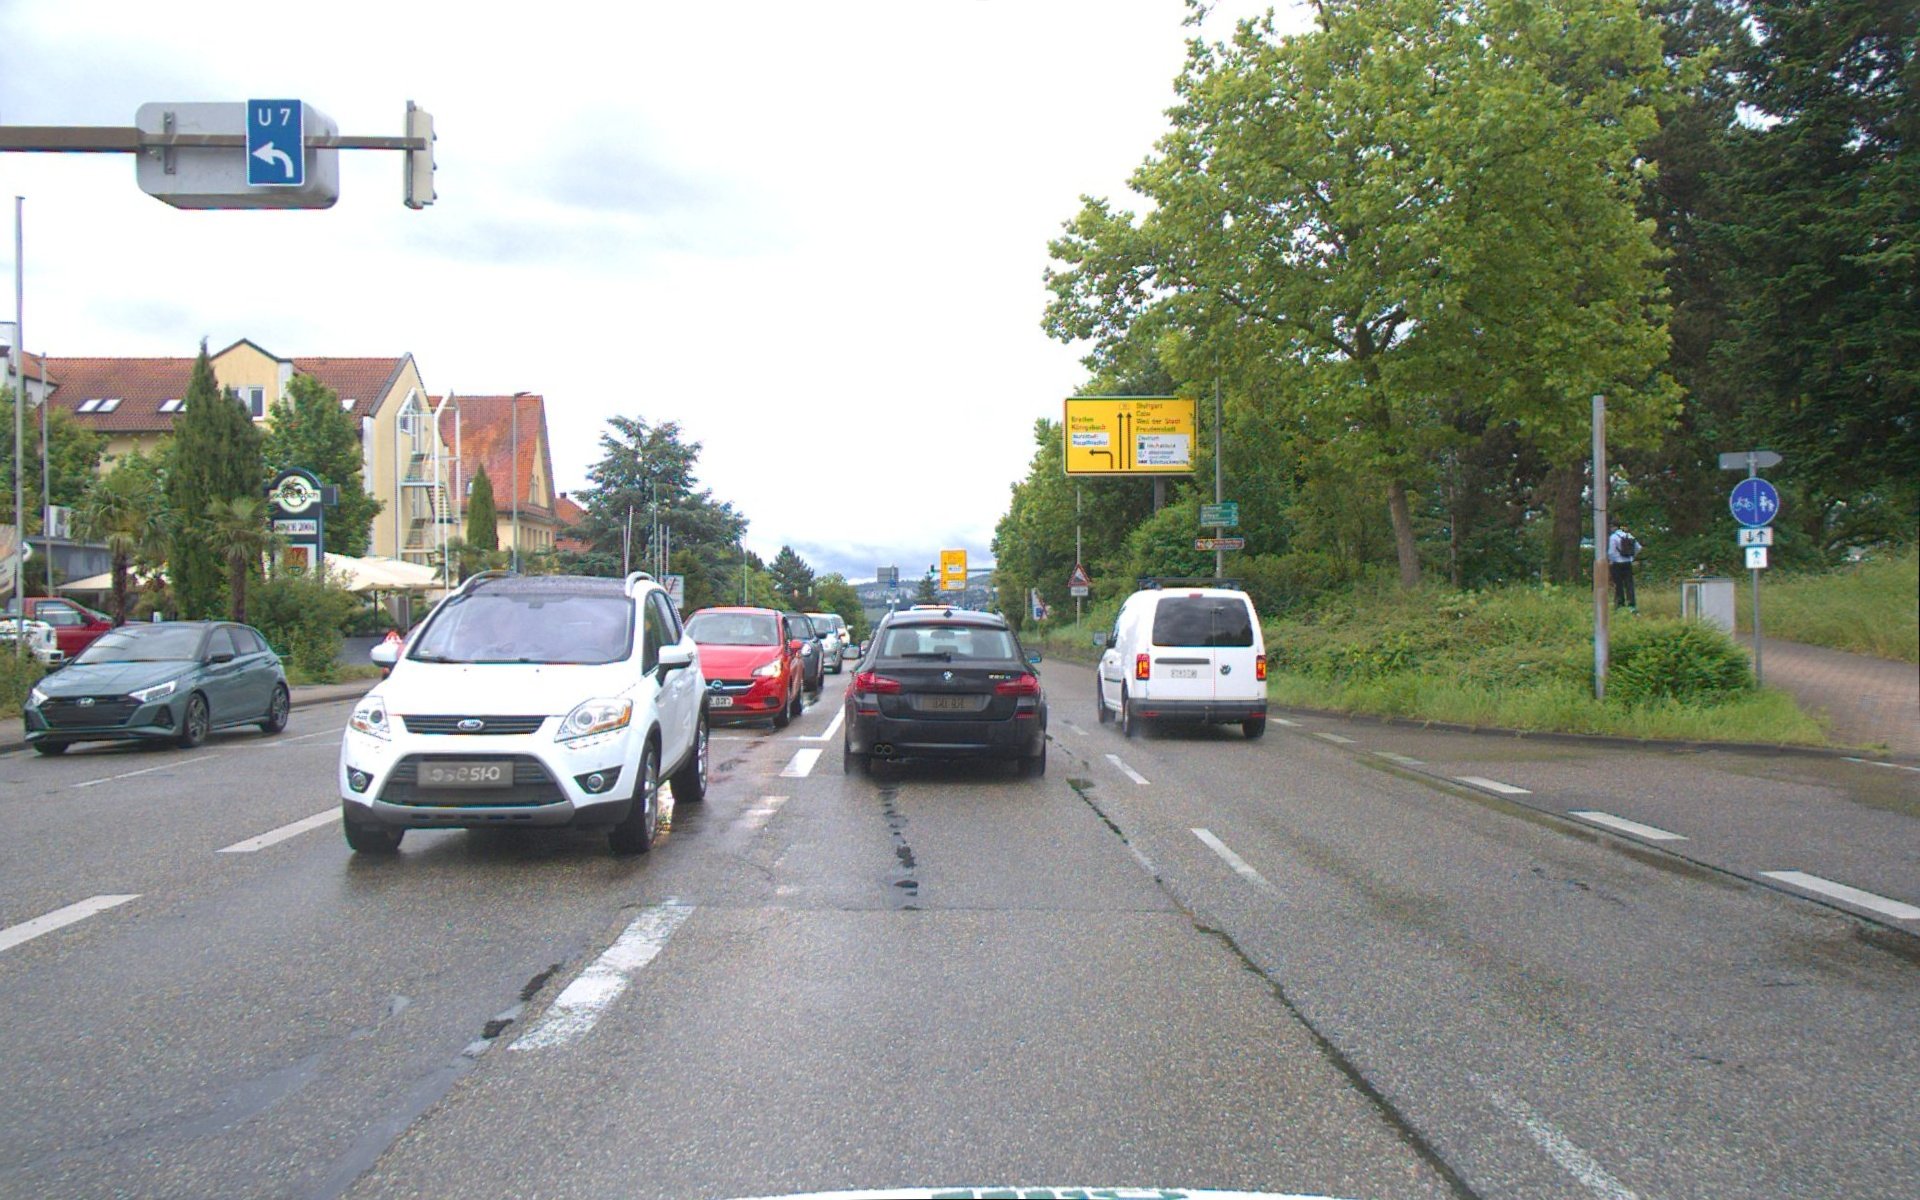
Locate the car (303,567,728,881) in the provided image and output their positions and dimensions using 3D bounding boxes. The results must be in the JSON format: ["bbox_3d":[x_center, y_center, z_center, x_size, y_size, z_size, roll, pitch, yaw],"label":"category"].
[{"bbox_3d":[-2.705,0.660,11.111,1.802,1.678,4.296,-1,0,-2],"label":"car"}]

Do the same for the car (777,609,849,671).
[{"bbox_3d":[-3.683,1.005,41.942,1.569,1.466,3.947,1,-1,-2],"label":"car"}]

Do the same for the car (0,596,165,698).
[{"bbox_3d":[-17.643,0.940,30.842,4.943,1.732,1.980,-2,-2,-29],"label":"car"}]

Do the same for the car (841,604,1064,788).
[{"bbox_3d":[-0.084,0.810,15.819,1.860,1.467,4.000,0,1,-1],"label":"car"}]

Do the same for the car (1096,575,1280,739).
[{"bbox_3d":[2.829,0.644,21.267,1.729,1.910,3.804,0,1,-2],"label":"car"}]

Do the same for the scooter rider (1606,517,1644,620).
[{"bbox_3d":[13.117,-0.619,32.632,0.490,2.000,0.547,-1,0,-1],"label":"scooter rider"}]

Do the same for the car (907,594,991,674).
[{"bbox_3d":[-0.255,0.737,38.193,1.830,1.703,4.000,0,1,-1],"label":"car"}]

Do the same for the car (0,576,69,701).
[{"bbox_3d":[-17.478,0.723,27.781,4.339,2.049,1.980,-2,0,-30],"label":"car"}]

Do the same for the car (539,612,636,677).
[{"bbox_3d":[-9.196,1.063,41.129,1.570,1.424,4.403,-2,0,-3],"label":"car"}]

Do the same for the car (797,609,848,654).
[{"bbox_3d":[-5.012,1.162,60.687,1.752,1.609,4.236,0,-1,-4],"label":"car"}]

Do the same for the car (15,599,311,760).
[{"bbox_3d":[-9.393,0.857,19.872,1.642,1.646,3.999,-2,1,-1],"label":"car"}]

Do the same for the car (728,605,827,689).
[{"bbox_3d":[-3.446,0.852,31.766,1.569,1.466,3.947,1,0,-2],"label":"car"}]

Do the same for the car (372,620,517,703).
[{"bbox_3d":[-9.697,1.117,31.399,1.590,1.355,3.945,-2,0,-2],"label":"car"}]

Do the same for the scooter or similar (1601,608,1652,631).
[{"bbox_3d":[13.132,0.387,32.624,0.477,0.410,1.255,-1,1,-1],"label":"scooter or similar"}]

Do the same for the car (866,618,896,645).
[{"bbox_3d":[-5.292,2.083,111.157,1.830,1.703,4.000,0,1,-1],"label":"car"}]

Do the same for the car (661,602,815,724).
[{"bbox_3d":[-2.876,0.811,22.140,1.599,1.459,4.142,1,-1,-2],"label":"car"}]
